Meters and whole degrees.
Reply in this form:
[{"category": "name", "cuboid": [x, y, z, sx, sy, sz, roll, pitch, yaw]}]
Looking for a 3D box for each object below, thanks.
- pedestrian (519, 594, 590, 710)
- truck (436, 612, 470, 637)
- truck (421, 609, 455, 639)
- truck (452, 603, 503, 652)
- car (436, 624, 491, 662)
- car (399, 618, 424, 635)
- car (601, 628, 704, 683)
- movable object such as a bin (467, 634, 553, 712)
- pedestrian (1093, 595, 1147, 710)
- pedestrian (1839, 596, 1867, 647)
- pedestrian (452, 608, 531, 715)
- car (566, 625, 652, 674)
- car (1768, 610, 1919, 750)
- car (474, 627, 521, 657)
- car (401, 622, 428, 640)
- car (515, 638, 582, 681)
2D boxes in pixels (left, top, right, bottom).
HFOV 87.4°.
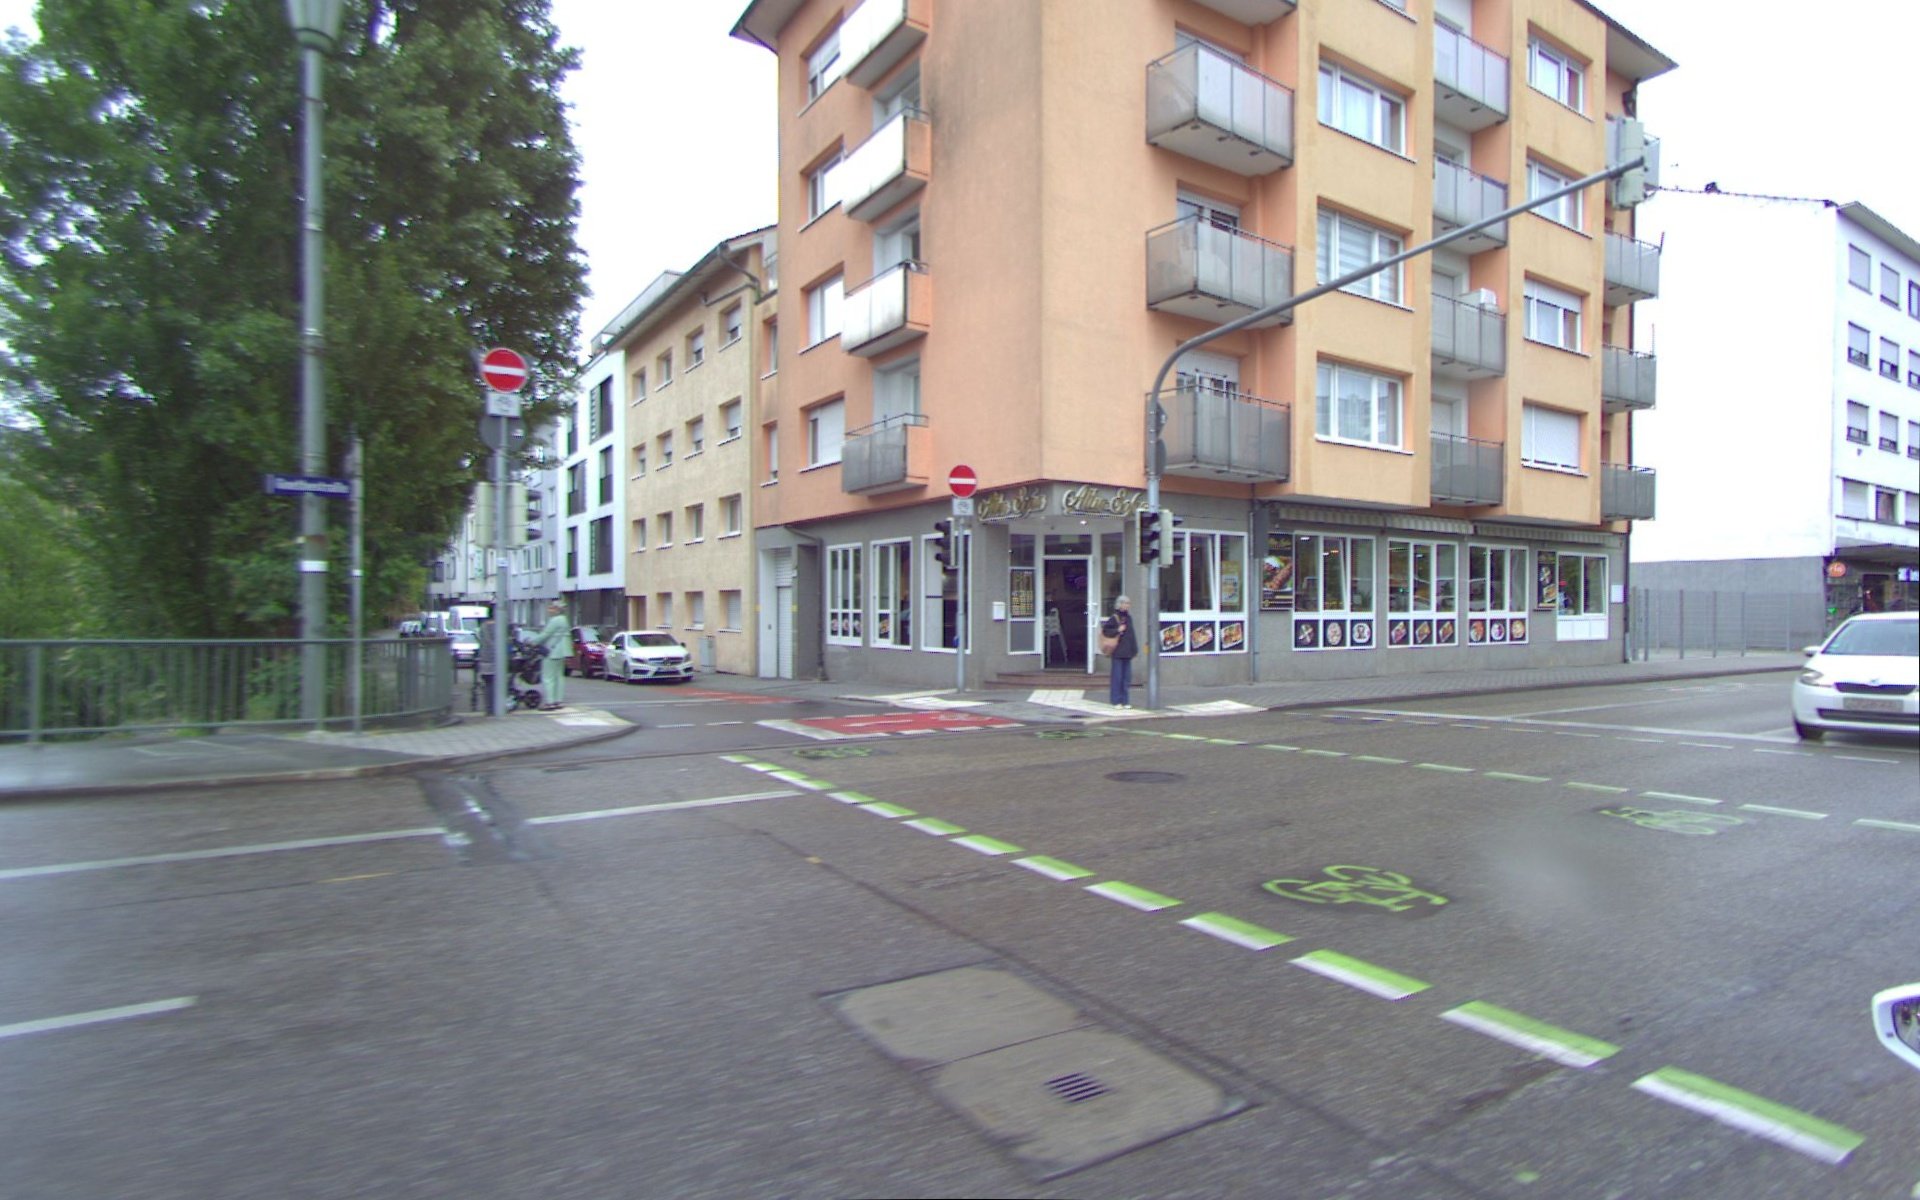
[{"category": "pedestrian", "cuboid": [-6.093, 0.778, 15.135, 0.609, 1.685, 0.800, 1, -2, 10]}, {"category": "truck", "cuboid": [-32.930, 1.575, 65.230, 1.583, 1.530, 3.567, 1, 1, -33]}, {"category": "truck", "cuboid": [-38.924, 1.756, 74.778, 1.878, 2.012, 5.336, 1, 1, -31]}, {"category": "truck", "cuboid": [-28.333, 1.548, 58.891, 2.084, 2.663, 4.616, 1, 1, -33]}, {"category": "car", "cuboid": [-20.620, 1.746, 41.684, 1.704, 1.406, 3.965, 0, 0, -31]}, {"category": "car", "cuboid": [-51.104, 2.477, 93.615, 1.878, 1.406, 3.965, 1, 1, -32]}, {"category": "car", "cuboid": [-8.781, 1.515, 28.475, 1.878, 1.406, 3.966, 0, -1, -32]}, {"category": "movable object such as a bin", "cuboid": [-6.809, 1.095, 15.246, 0.866, 1.126, 0.800, 1, -2, 8]}, {"category": "pedestrian", "cuboid": [2.507, 0.807, 15.748, 0.641, 1.750, 0.528, 0, 0, -29]}, {"category": "pedestrian", "cuboid": [33.623, 0.804, 37.821, 0.518, 1.886, 0.635, 0, 1, -34]}, {"category": "pedestrian", "cuboid": [-6.605, 0.858, 14.192, 0.784, 1.464, 0.654, 1, -2, -4]}, {"category": "car", "cuboid": [-11.583, 1.572, 32.967, 1.878, 1.406, 3.965, 0, 0, -32]}, {"category": "car", "cuboid": [11.343, 0.871, 11.962, 3.504, 1.469, 1.645, 1, -2, -33]}, {"category": "car", "cuboid": [-25.090, 2.238, 54.457, 1.878, 1.406, 3.965, 1, 1, -32]}, {"category": "car", "cuboid": [-48.380, 2.726, 89.036, 1.878, 1.406, 3.965, 1, 1, -32]}, {"category": "car", "cuboid": [-16.447, 2.317, 40.072, 1.878, 1.406, 3.965, 1, 1, -32]}]
